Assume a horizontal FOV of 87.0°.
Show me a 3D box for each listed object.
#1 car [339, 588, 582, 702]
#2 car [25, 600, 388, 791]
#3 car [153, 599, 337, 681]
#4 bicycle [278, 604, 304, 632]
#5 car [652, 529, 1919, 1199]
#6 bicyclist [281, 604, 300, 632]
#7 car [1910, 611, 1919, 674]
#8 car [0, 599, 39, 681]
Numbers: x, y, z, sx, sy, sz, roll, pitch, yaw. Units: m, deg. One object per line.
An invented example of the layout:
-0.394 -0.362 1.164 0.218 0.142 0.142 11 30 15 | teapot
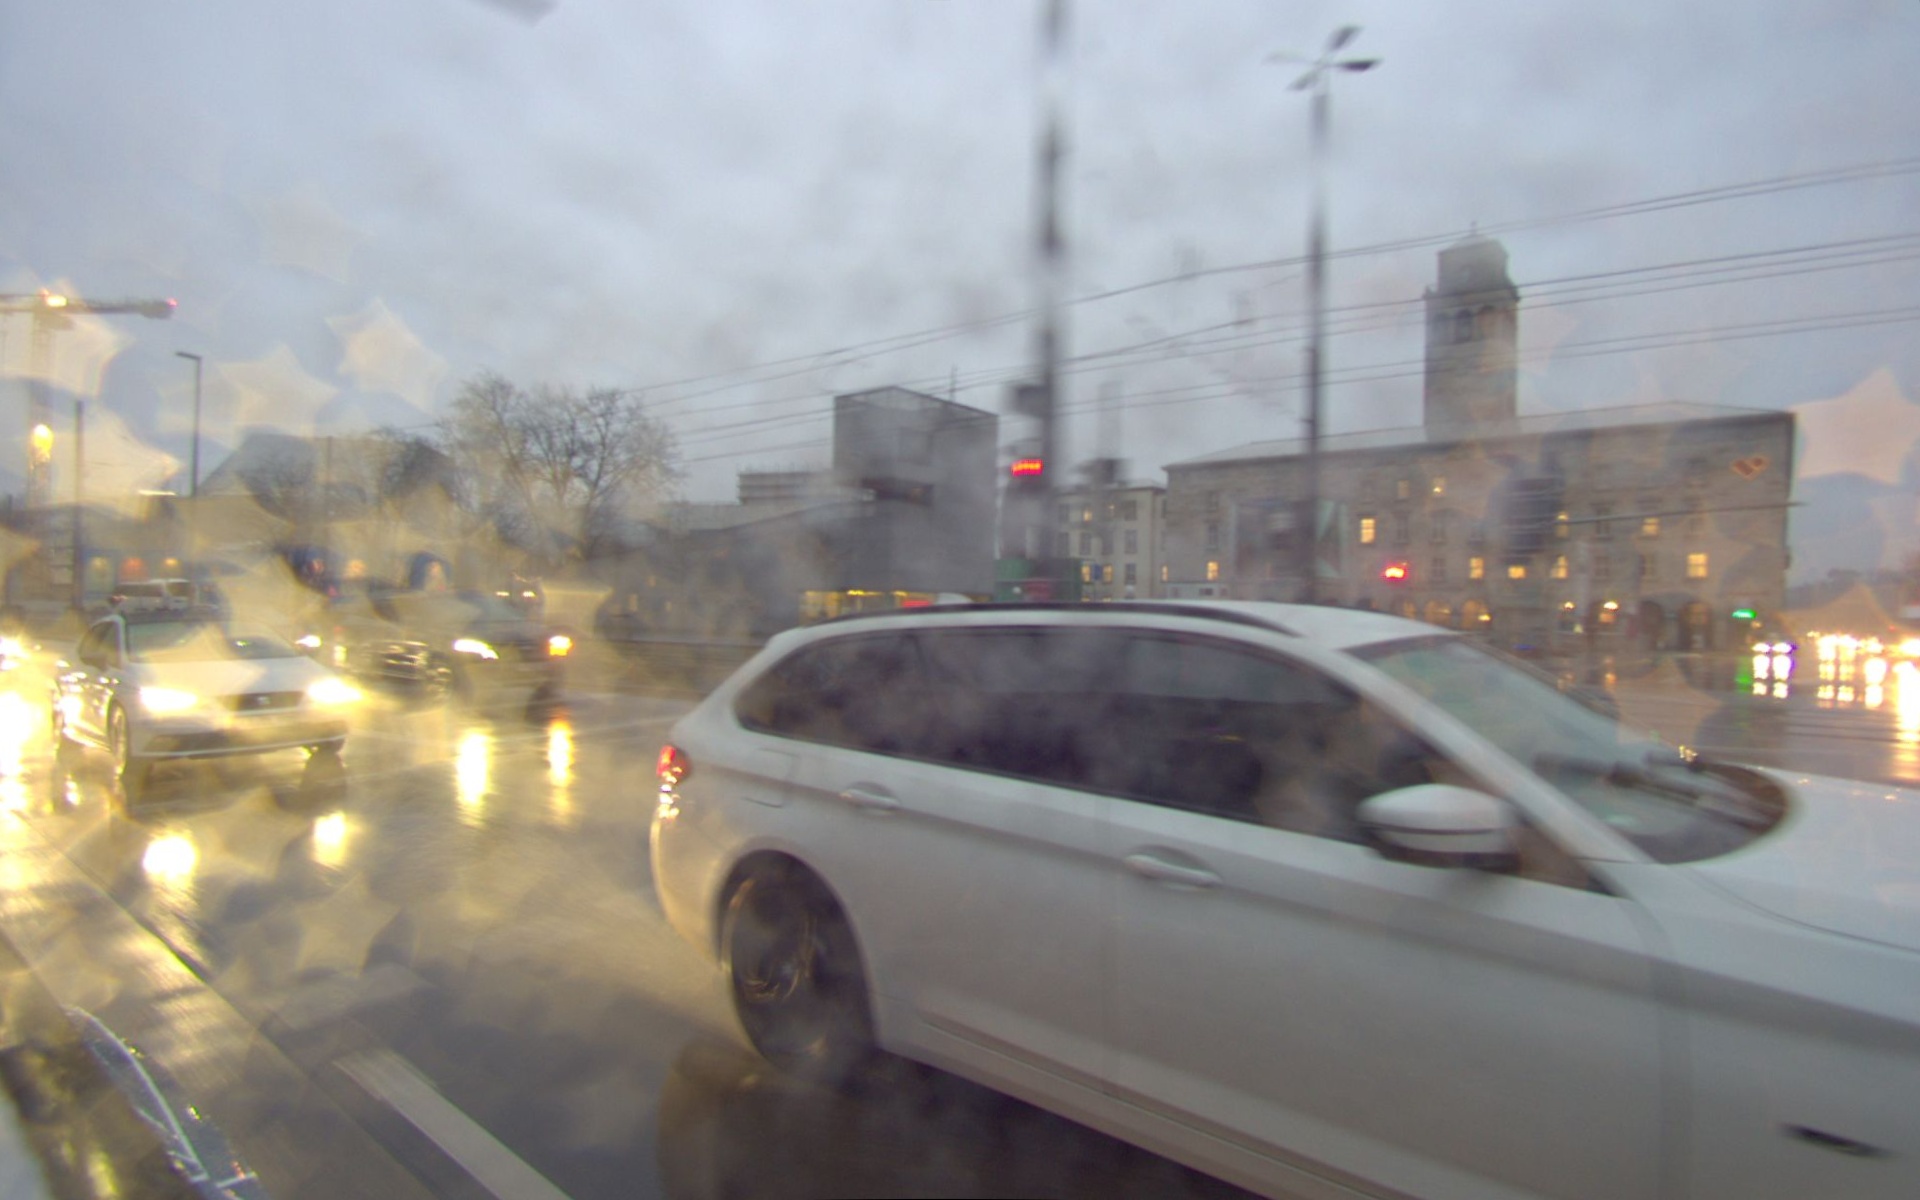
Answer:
-8.146 0.627 16.353 4.286 1.596 1.947 1 0 40 | car
-7.771 0.762 10.271 4.501 1.498 1.925 0 1 39 | car
-15.177 0.774 21.392 4.655 1.519 1.832 1 0 37 | car
-43.067 1.152 65.128 2.060 1.746 0.755 2 1 36 | bicycle
1.407 0.667 2.682 4.554 1.498 1.998 0 -1 38 | car
-43.076 1.144 65.124 0.959 1.746 0.755 2 1 36 | bicyclist
38.973 1.676 39.974 2.061 2.440 4.693 0 -1 44 | car
-19.759 0.724 19.628 4.498 1.498 1.975 0 -1 37 | car
